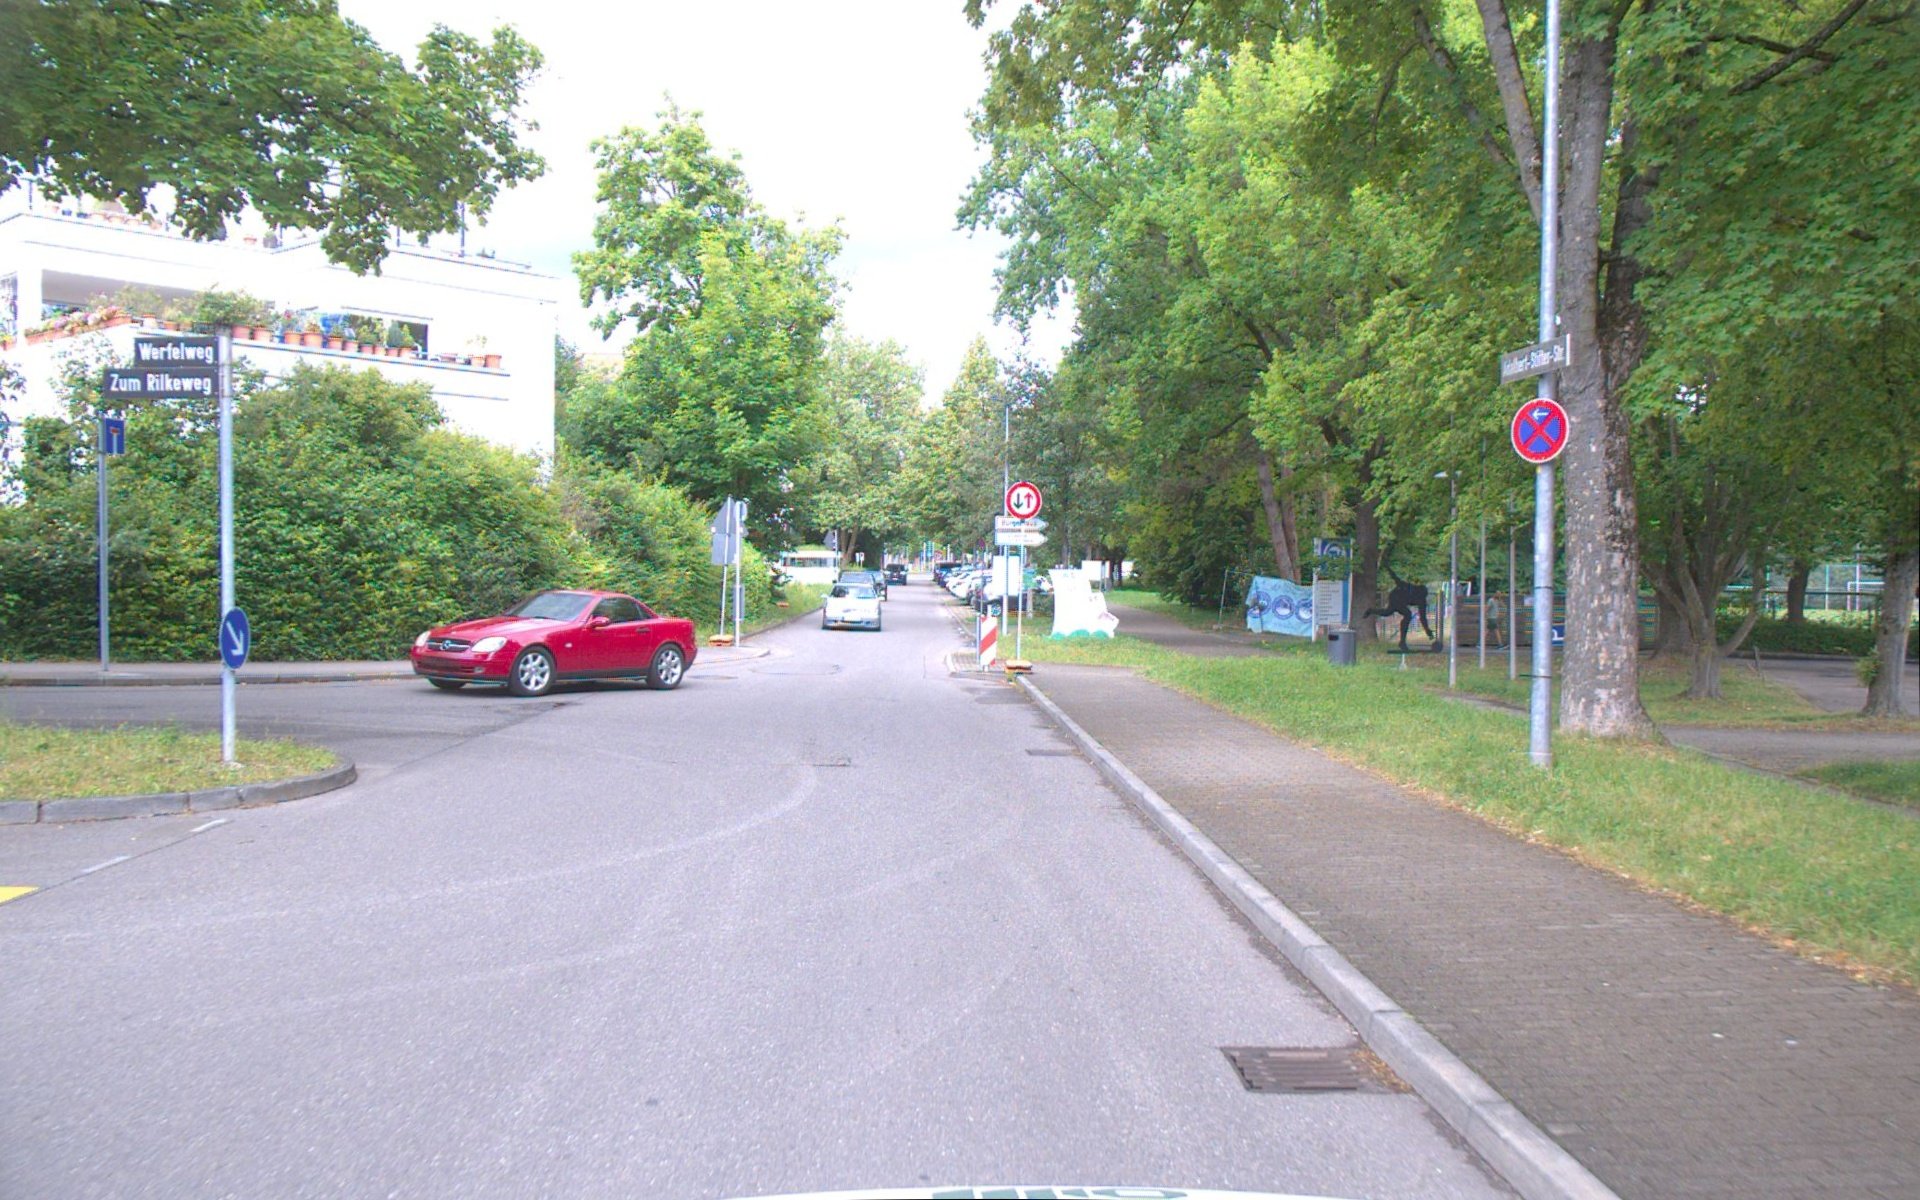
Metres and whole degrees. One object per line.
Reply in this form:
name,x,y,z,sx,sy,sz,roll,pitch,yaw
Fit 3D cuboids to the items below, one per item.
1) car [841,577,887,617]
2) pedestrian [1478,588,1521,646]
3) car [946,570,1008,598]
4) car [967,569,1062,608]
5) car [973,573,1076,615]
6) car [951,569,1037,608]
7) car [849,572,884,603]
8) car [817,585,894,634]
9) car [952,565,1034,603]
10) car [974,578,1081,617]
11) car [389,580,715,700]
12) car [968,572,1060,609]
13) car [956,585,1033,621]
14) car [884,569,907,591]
car,-4.029,-0.166,69.958,1.766,1.619,4.295,1,1,-2
pedestrian,16.154,0.521,49.538,1.124,1.704,0.793,-1,-1,24
car,1.122,-1.076,110.973,3.984,1.716,1.821,-3,1,-5
car,2.316,-0.517,71.554,3.981,1.595,1.822,-1,1,-3
car,2.547,-0.218,66.278,3.981,1.596,1.821,-1,-1,-3
car,1.661,-0.568,81.612,3.984,1.716,1.821,-3,1,-5
car,-5.008,-0.692,88.892,1.767,1.619,4.295,1,1,-2
car,-3.046,0.244,48.973,1.744,1.329,4.298,1,1,3
car,1.695,-0.833,85.687,3.984,1.716,1.821,-3,1,-5
car,2.568,-0.089,63.932,3.981,1.459,1.999,-1,-1,-3
car,-5.143,0.453,21.349,1.718,1.359,4.056,1,1,31
car,2.478,-0.458,76.557,3.984,1.514,1.821,-3,1,-5
car,1.850,0.154,90.595,3.984,1.716,1.821,-3,1,-5
car,-5.495,-1.705,140.964,1.929,1.778,4.336,1,1,-3
